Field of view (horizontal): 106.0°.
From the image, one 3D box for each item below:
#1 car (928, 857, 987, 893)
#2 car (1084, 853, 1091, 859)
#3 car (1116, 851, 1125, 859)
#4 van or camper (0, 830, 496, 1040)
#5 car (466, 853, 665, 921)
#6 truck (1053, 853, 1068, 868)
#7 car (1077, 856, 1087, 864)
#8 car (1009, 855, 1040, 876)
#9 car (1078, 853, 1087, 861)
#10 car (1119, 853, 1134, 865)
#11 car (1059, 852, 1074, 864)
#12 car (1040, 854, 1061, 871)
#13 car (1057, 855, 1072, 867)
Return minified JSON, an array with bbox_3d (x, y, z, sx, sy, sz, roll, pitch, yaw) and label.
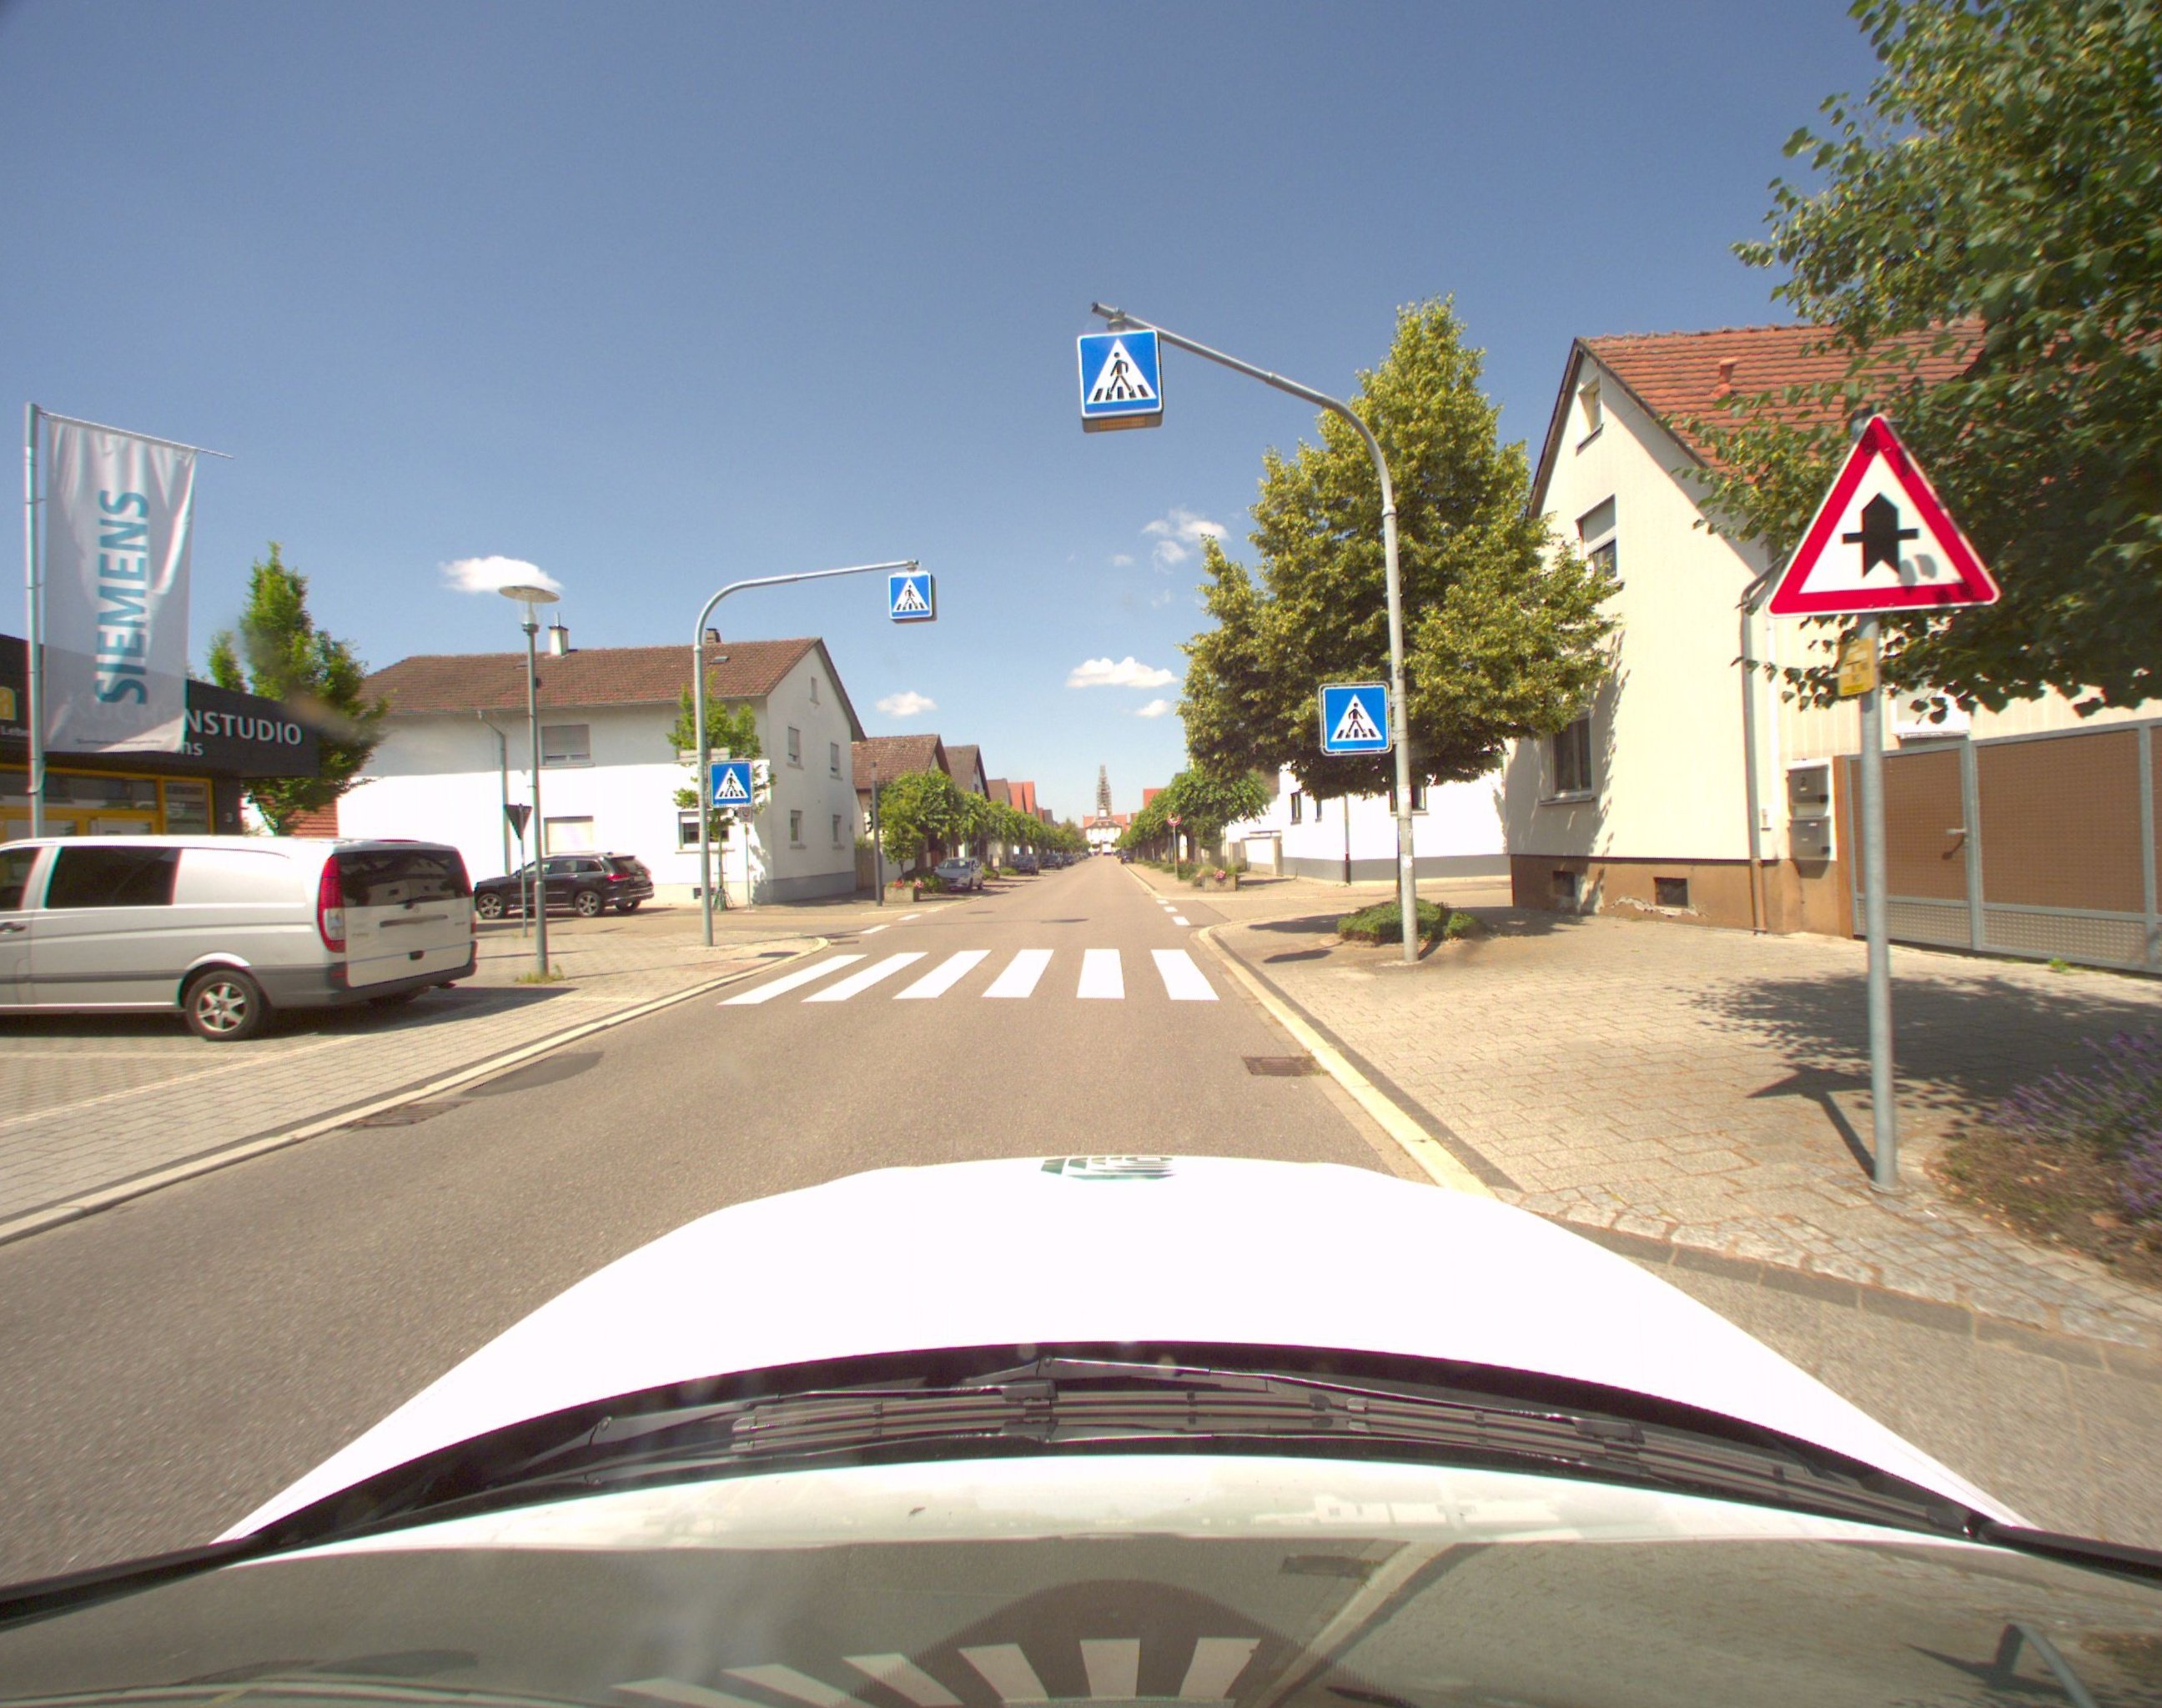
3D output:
[{"bbox_3d":[-5.382,0.893,36.041,1.818,1.483,4.135,0,0,2],"label":"car"},{"bbox_3d":[1.839,0.528,236.196,1.750,1.555,4.022,-2,0,2],"label":"car"},{"bbox_3d":[8.736,0.133,179.009,1.831,1.555,4.315,-4,0,1],"label":"car"},{"bbox_3d":[-9.049,0.720,8.279,4.723,1.862,2.000,0,1,0],"label":"van or camper"},{"bbox_3d":[-14.813,0.905,23.577,4.407,1.715,2.001,-2,2,2],"label":"car"},{"bbox_3d":[-2.510,0.767,100.406,1.570,1.765,4.194,0,0,2],"label":"truck"},{"bbox_3d":[0.240,1.187,171.988,1.985,1.611,4.692,-1,0,3],"label":"car"},{"bbox_3d":[-4.396,0.878,63.824,1.845,1.613,4.139,0,0,4],"label":"car"},{"bbox_3d":[0.425,0.670,192.529,1.985,1.611,4.693,1,1,3],"label":"car"},{"bbox_3d":[6.066,0.649,109.324,1.817,1.432,4.058,-4,0,2],"label":"car"},{"bbox_3d":[-2.049,0.591,116.922,1.846,1.635,4.058,0,0,2],"label":"car"},{"bbox_3d":[-3.089,0.891,84.116,1.846,1.636,4.301,0,1,2],"label":"car"},{"bbox_3d":[-2.197,0.943,109.131,1.782,1.634,3.995,-1,0,-4],"label":"car"}]
